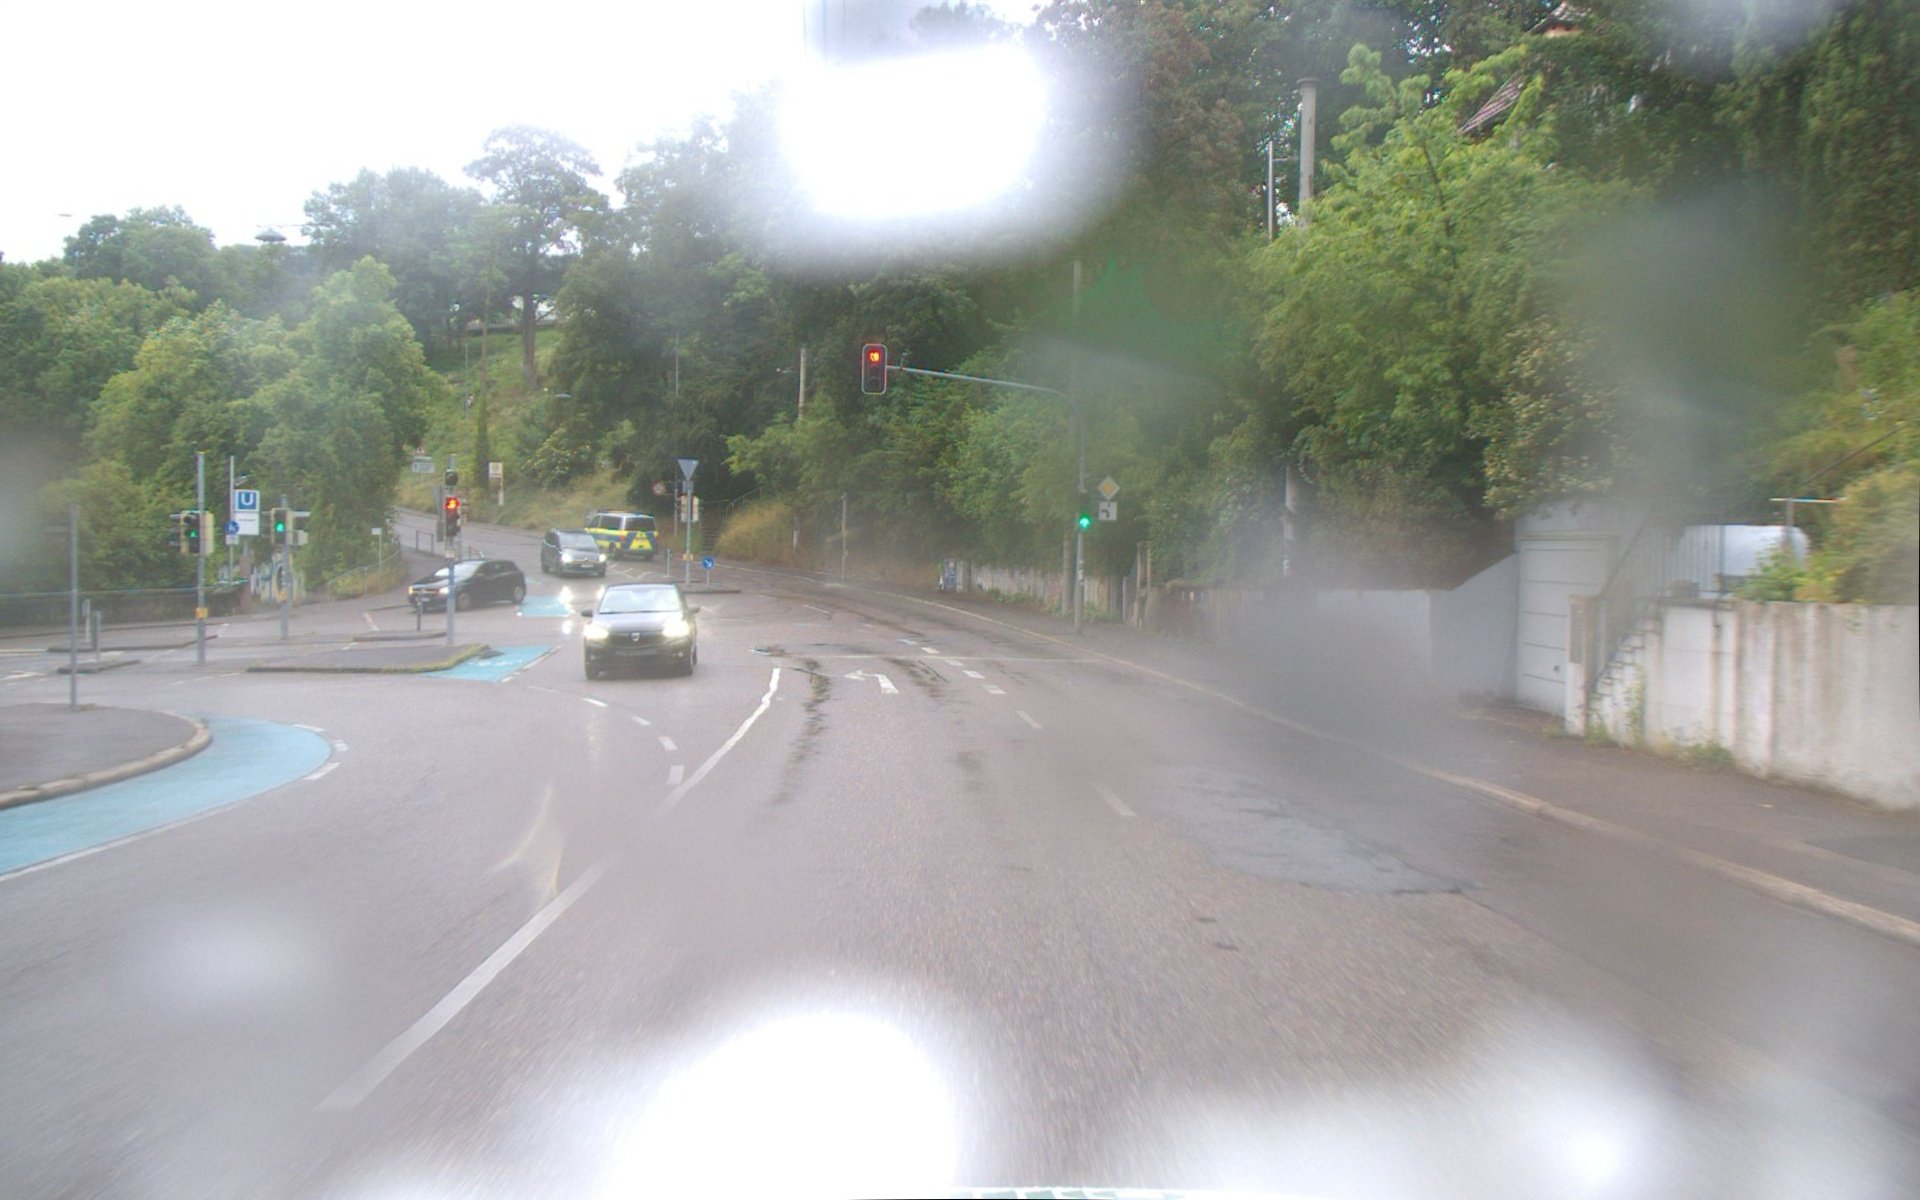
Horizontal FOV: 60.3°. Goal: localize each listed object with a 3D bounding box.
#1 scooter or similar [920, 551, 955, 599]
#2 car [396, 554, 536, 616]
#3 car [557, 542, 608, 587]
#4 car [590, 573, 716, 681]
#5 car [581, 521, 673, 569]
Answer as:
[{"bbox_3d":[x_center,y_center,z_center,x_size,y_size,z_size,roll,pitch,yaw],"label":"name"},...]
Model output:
[{"bbox_3d":[-0.763,-0.866,55.517,0.607,1.446,2.151,-2,5,-16],"label":"scooter or similar"},{"bbox_3d":[-15.023,-0.491,50.462,1.708,1.576,3.996,0,5,28],"label":"car"},{"bbox_3d":[-14.659,-1.414,64.137,1.712,1.576,3.985,-3,3,-15],"label":"car"},{"bbox_3d":[-5.132,0.390,28.079,1.707,1.577,3.996,-2,2,-6],"label":"car"},{"bbox_3d":[-14.776,-2.434,73.195,2.293,1.972,4.266,-4,4,-38],"label":"car"}]
